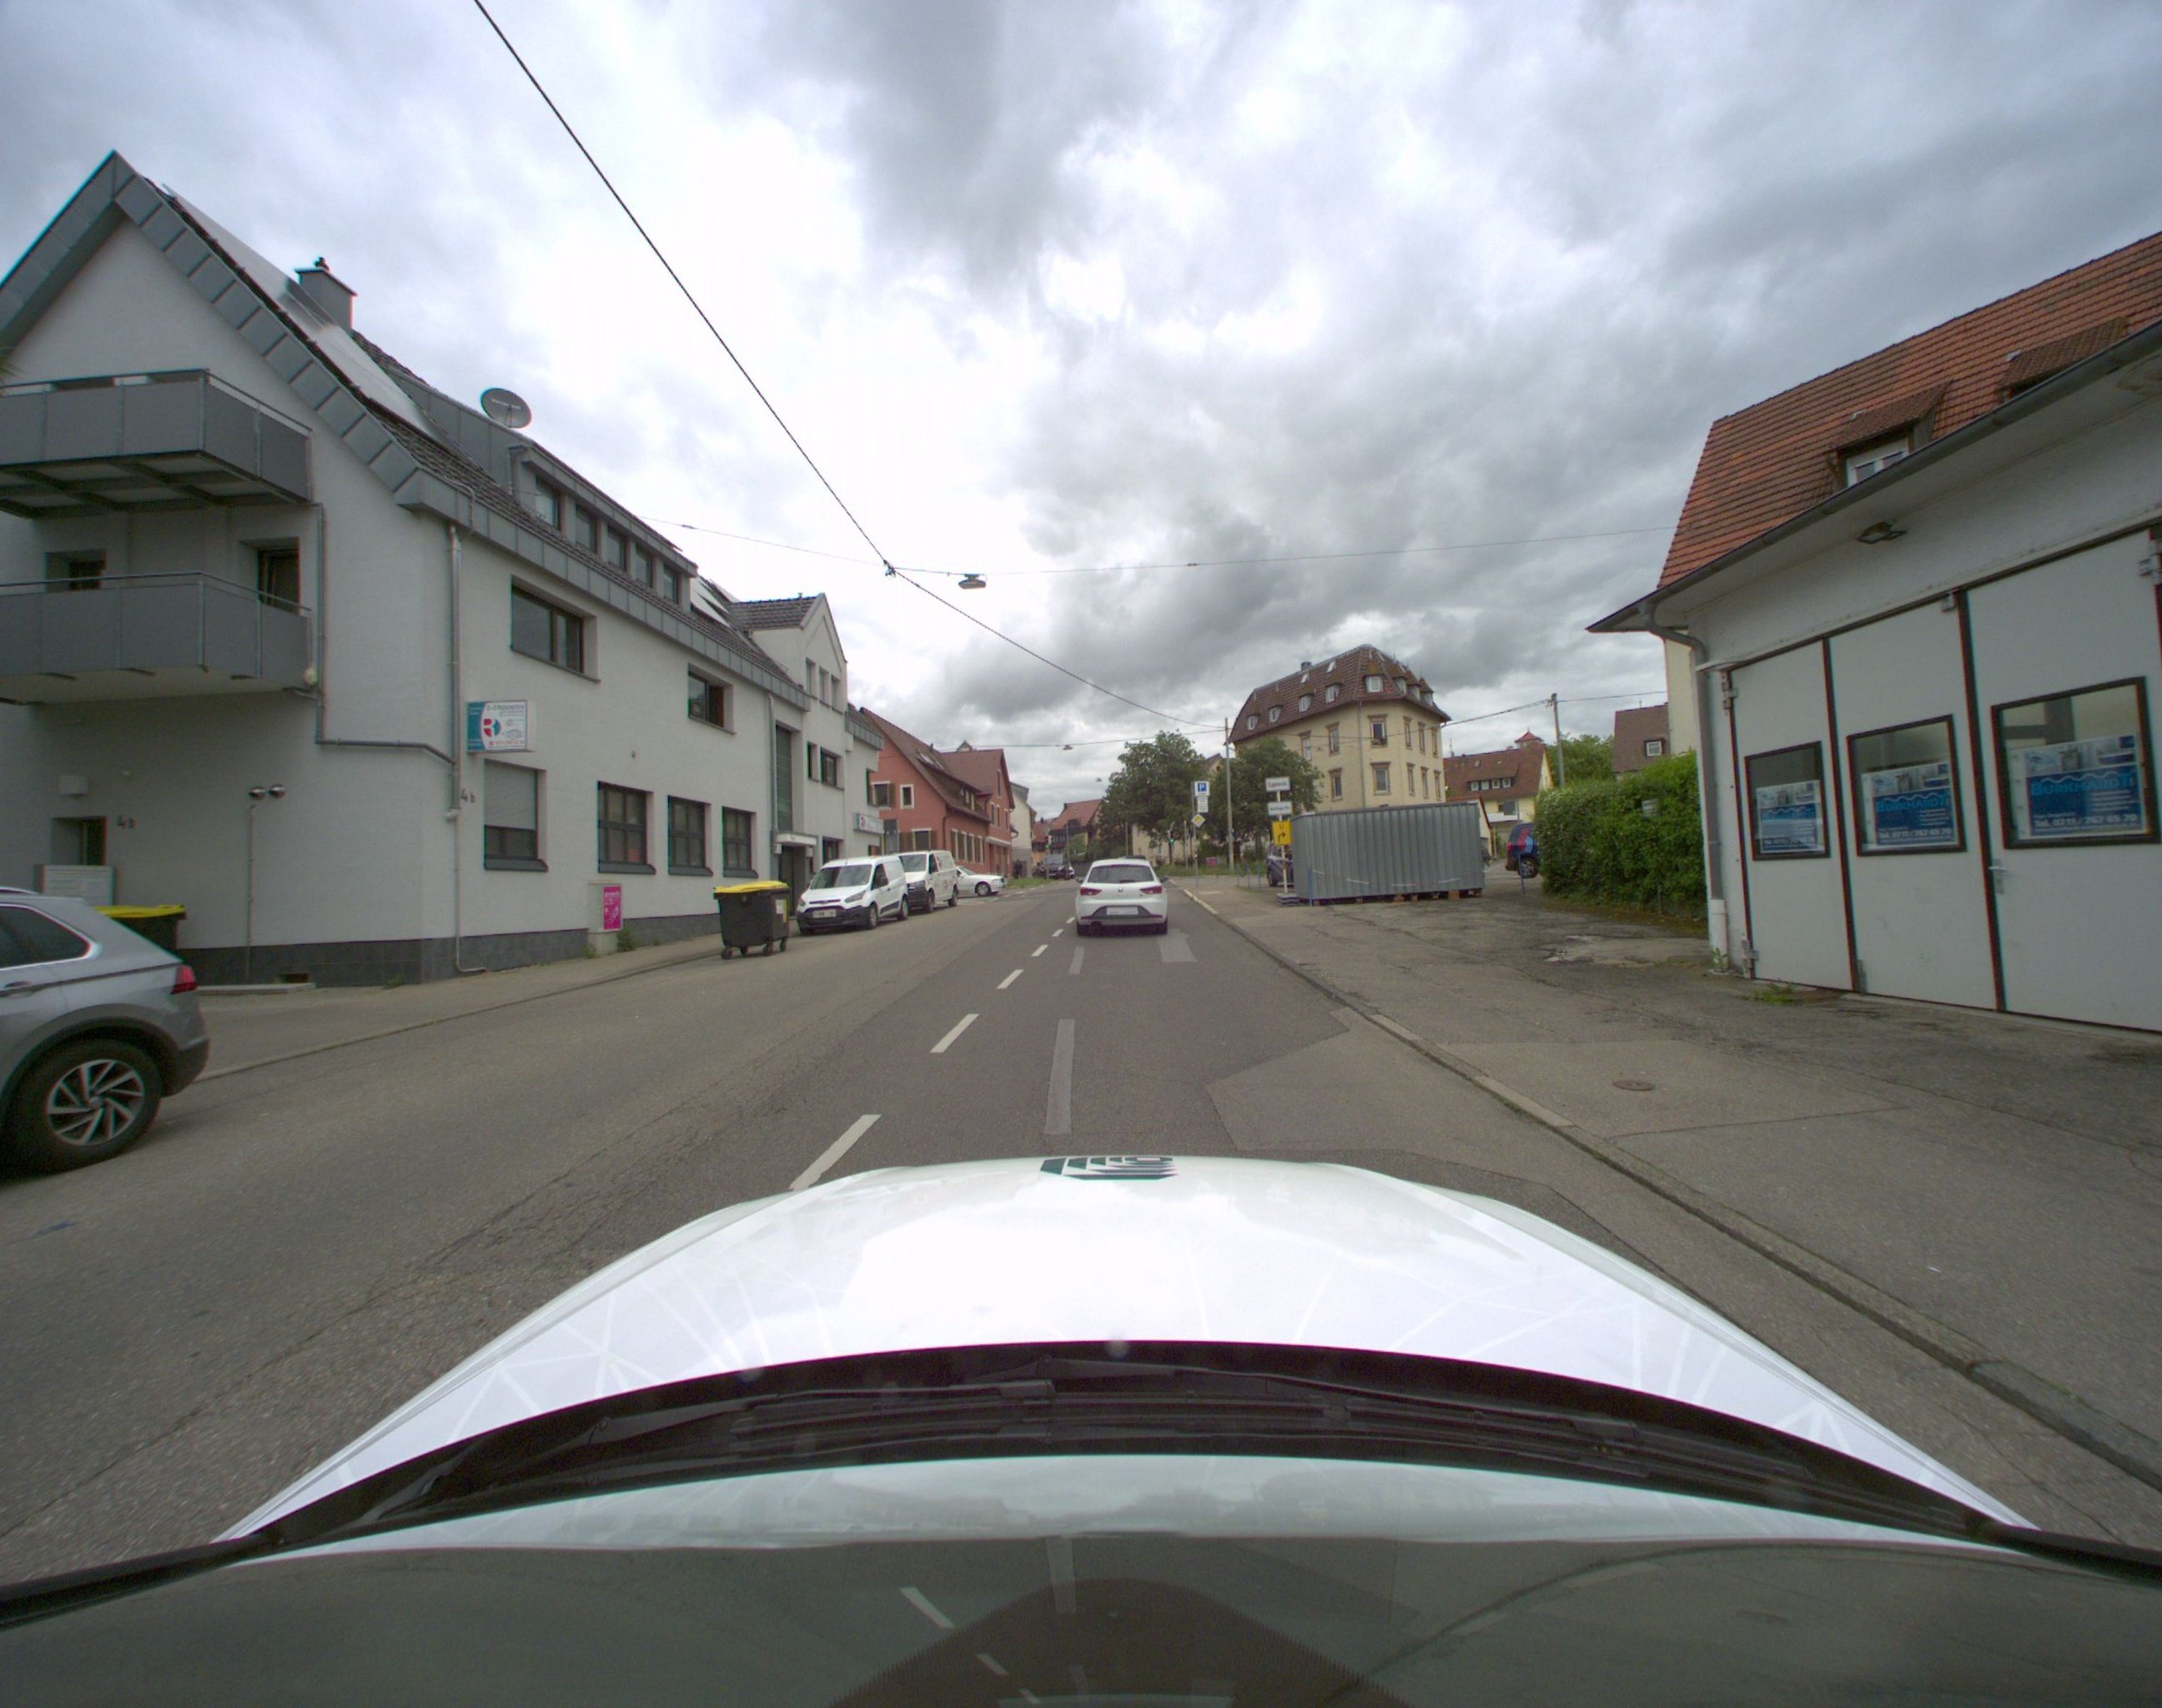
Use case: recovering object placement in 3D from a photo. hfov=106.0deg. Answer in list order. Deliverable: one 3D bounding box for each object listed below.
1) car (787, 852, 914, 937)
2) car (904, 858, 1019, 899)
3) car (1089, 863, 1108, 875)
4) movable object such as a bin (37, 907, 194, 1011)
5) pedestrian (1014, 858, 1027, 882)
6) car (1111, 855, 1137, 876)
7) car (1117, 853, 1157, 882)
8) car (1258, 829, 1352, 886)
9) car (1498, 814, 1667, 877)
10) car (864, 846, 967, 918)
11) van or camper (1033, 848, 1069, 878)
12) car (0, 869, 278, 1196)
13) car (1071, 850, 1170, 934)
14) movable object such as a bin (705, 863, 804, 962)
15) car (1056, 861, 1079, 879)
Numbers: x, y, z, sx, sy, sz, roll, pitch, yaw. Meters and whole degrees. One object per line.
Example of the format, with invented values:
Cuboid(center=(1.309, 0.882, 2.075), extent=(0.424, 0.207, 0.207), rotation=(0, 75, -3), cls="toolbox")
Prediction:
Cuboid(center=(-5.770, 0.941, 20.983), extent=(1.726, 1.831, 4.301), rotation=(-4, 0, 3), cls="car")
Cuboid(center=(-5.207, 1.046, 35.918), extent=(4.530, 1.445, 2.004), rotation=(-4, 0, 6), cls="car")
Cuboid(center=(2.257, 1.933, 106.169), extent=(1.759, 1.452, 3.984), rotation=(0, -2, -11), cls="car")
Cuboid(center=(-13.378, 1.424, 11.329), extent=(0.777, 1.299, 1.149), rotation=(0, -1, 3), cls="movable object such as a bin")
Cuboid(center=(-4.546, 1.168, 60.807), extent=(0.797, 1.785, 0.893), rotation=(-2, -1, 3), cls="pedestrian")
Cuboid(center=(3.059, 0.852, 59.082), extent=(1.752, 1.452, 4.001), rotation=(-2, -2, 2), cls="car")
Cuboid(center=(3.037, 0.786, 44.710), extent=(1.754, 1.452, 3.996), rotation=(-2, -2, -2), cls="car")
Cuboid(center=(7.773, 0.129, 28.766), extent=(1.742, 1.739, 4.566), rotation=(-4, 0, -3), cls="car")
Cuboid(center=(15.182, -0.223, 24.858), extent=(1.876, 1.728, 3.959), rotation=(0, -1, -33), cls="car")
Cuboid(center=(-5.245, 0.829, 26.466), extent=(1.803, 2.005, 4.770), rotation=(-4, 0, 6), cls="car")
Cuboid(center=(-2.172, 0.714, 60.744), extent=(2.065, 2.006, 4.861), rotation=(-4, -3, 3), cls="van or camper")
Cuboid(center=(-6.404, 0.974, 3.366), extent=(1.833, 1.632, 4.403), rotation=(-4, 0, -3), cls="car")
Cuboid(center=(0.876, 0.698, 16.744), extent=(1.750, 1.452, 4.005), rotation=(-2, 0, 5), cls="car")
Cuboid(center=(-5.950, 1.019, 14.956), extent=(1.137, 1.632, 1.561), rotation=(-4, 0, -3), cls="movable object such as a bin")
Cuboid(center=(-1.410, 1.608, 80.595), extent=(1.994, 1.633, 4.850), rotation=(-1, -1, -4), cls="car")
